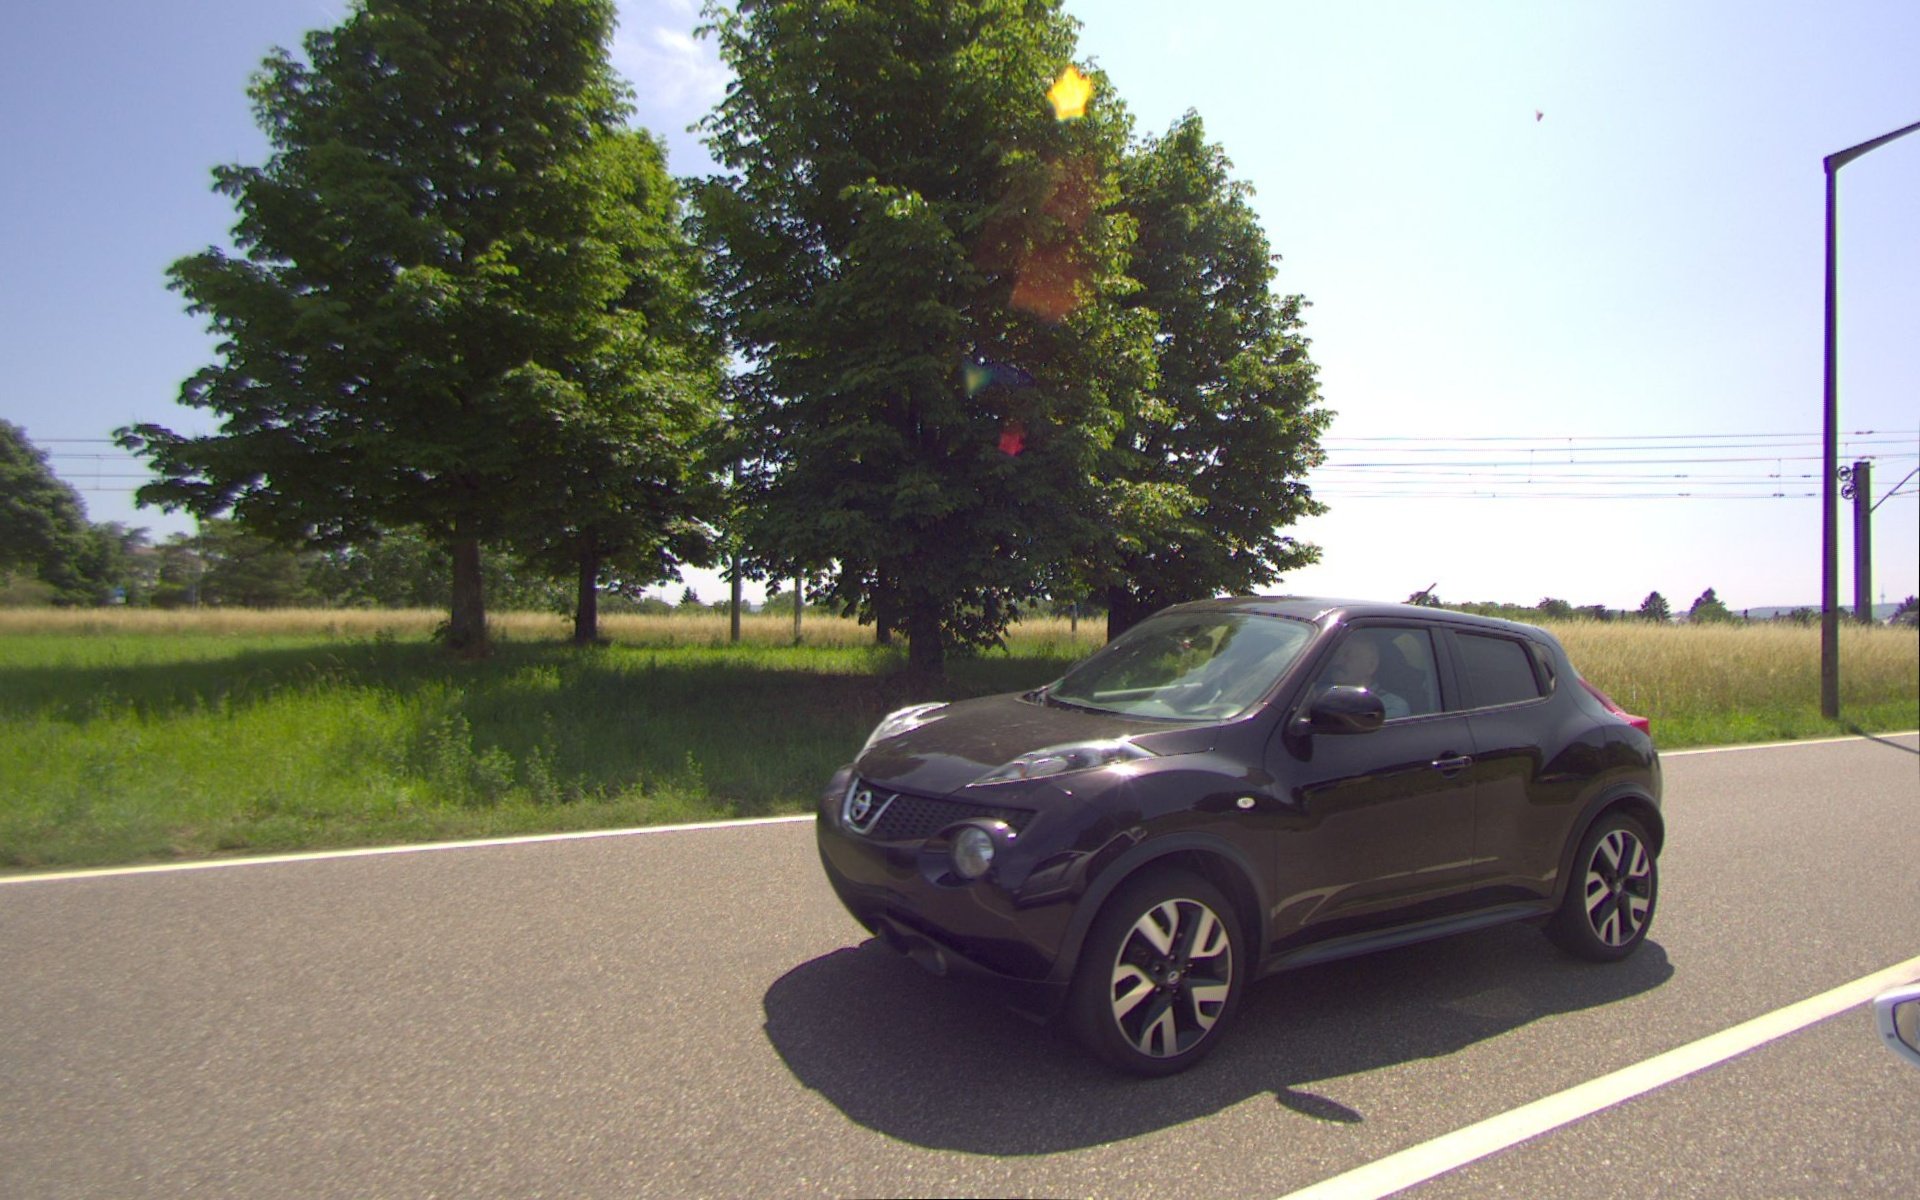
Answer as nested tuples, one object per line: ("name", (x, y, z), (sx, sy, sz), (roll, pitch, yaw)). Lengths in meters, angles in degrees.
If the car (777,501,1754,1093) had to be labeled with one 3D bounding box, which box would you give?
("car", (1.433, 0.634, 4.473), (4.060, 1.593, 1.815), (3, -2, -27))
